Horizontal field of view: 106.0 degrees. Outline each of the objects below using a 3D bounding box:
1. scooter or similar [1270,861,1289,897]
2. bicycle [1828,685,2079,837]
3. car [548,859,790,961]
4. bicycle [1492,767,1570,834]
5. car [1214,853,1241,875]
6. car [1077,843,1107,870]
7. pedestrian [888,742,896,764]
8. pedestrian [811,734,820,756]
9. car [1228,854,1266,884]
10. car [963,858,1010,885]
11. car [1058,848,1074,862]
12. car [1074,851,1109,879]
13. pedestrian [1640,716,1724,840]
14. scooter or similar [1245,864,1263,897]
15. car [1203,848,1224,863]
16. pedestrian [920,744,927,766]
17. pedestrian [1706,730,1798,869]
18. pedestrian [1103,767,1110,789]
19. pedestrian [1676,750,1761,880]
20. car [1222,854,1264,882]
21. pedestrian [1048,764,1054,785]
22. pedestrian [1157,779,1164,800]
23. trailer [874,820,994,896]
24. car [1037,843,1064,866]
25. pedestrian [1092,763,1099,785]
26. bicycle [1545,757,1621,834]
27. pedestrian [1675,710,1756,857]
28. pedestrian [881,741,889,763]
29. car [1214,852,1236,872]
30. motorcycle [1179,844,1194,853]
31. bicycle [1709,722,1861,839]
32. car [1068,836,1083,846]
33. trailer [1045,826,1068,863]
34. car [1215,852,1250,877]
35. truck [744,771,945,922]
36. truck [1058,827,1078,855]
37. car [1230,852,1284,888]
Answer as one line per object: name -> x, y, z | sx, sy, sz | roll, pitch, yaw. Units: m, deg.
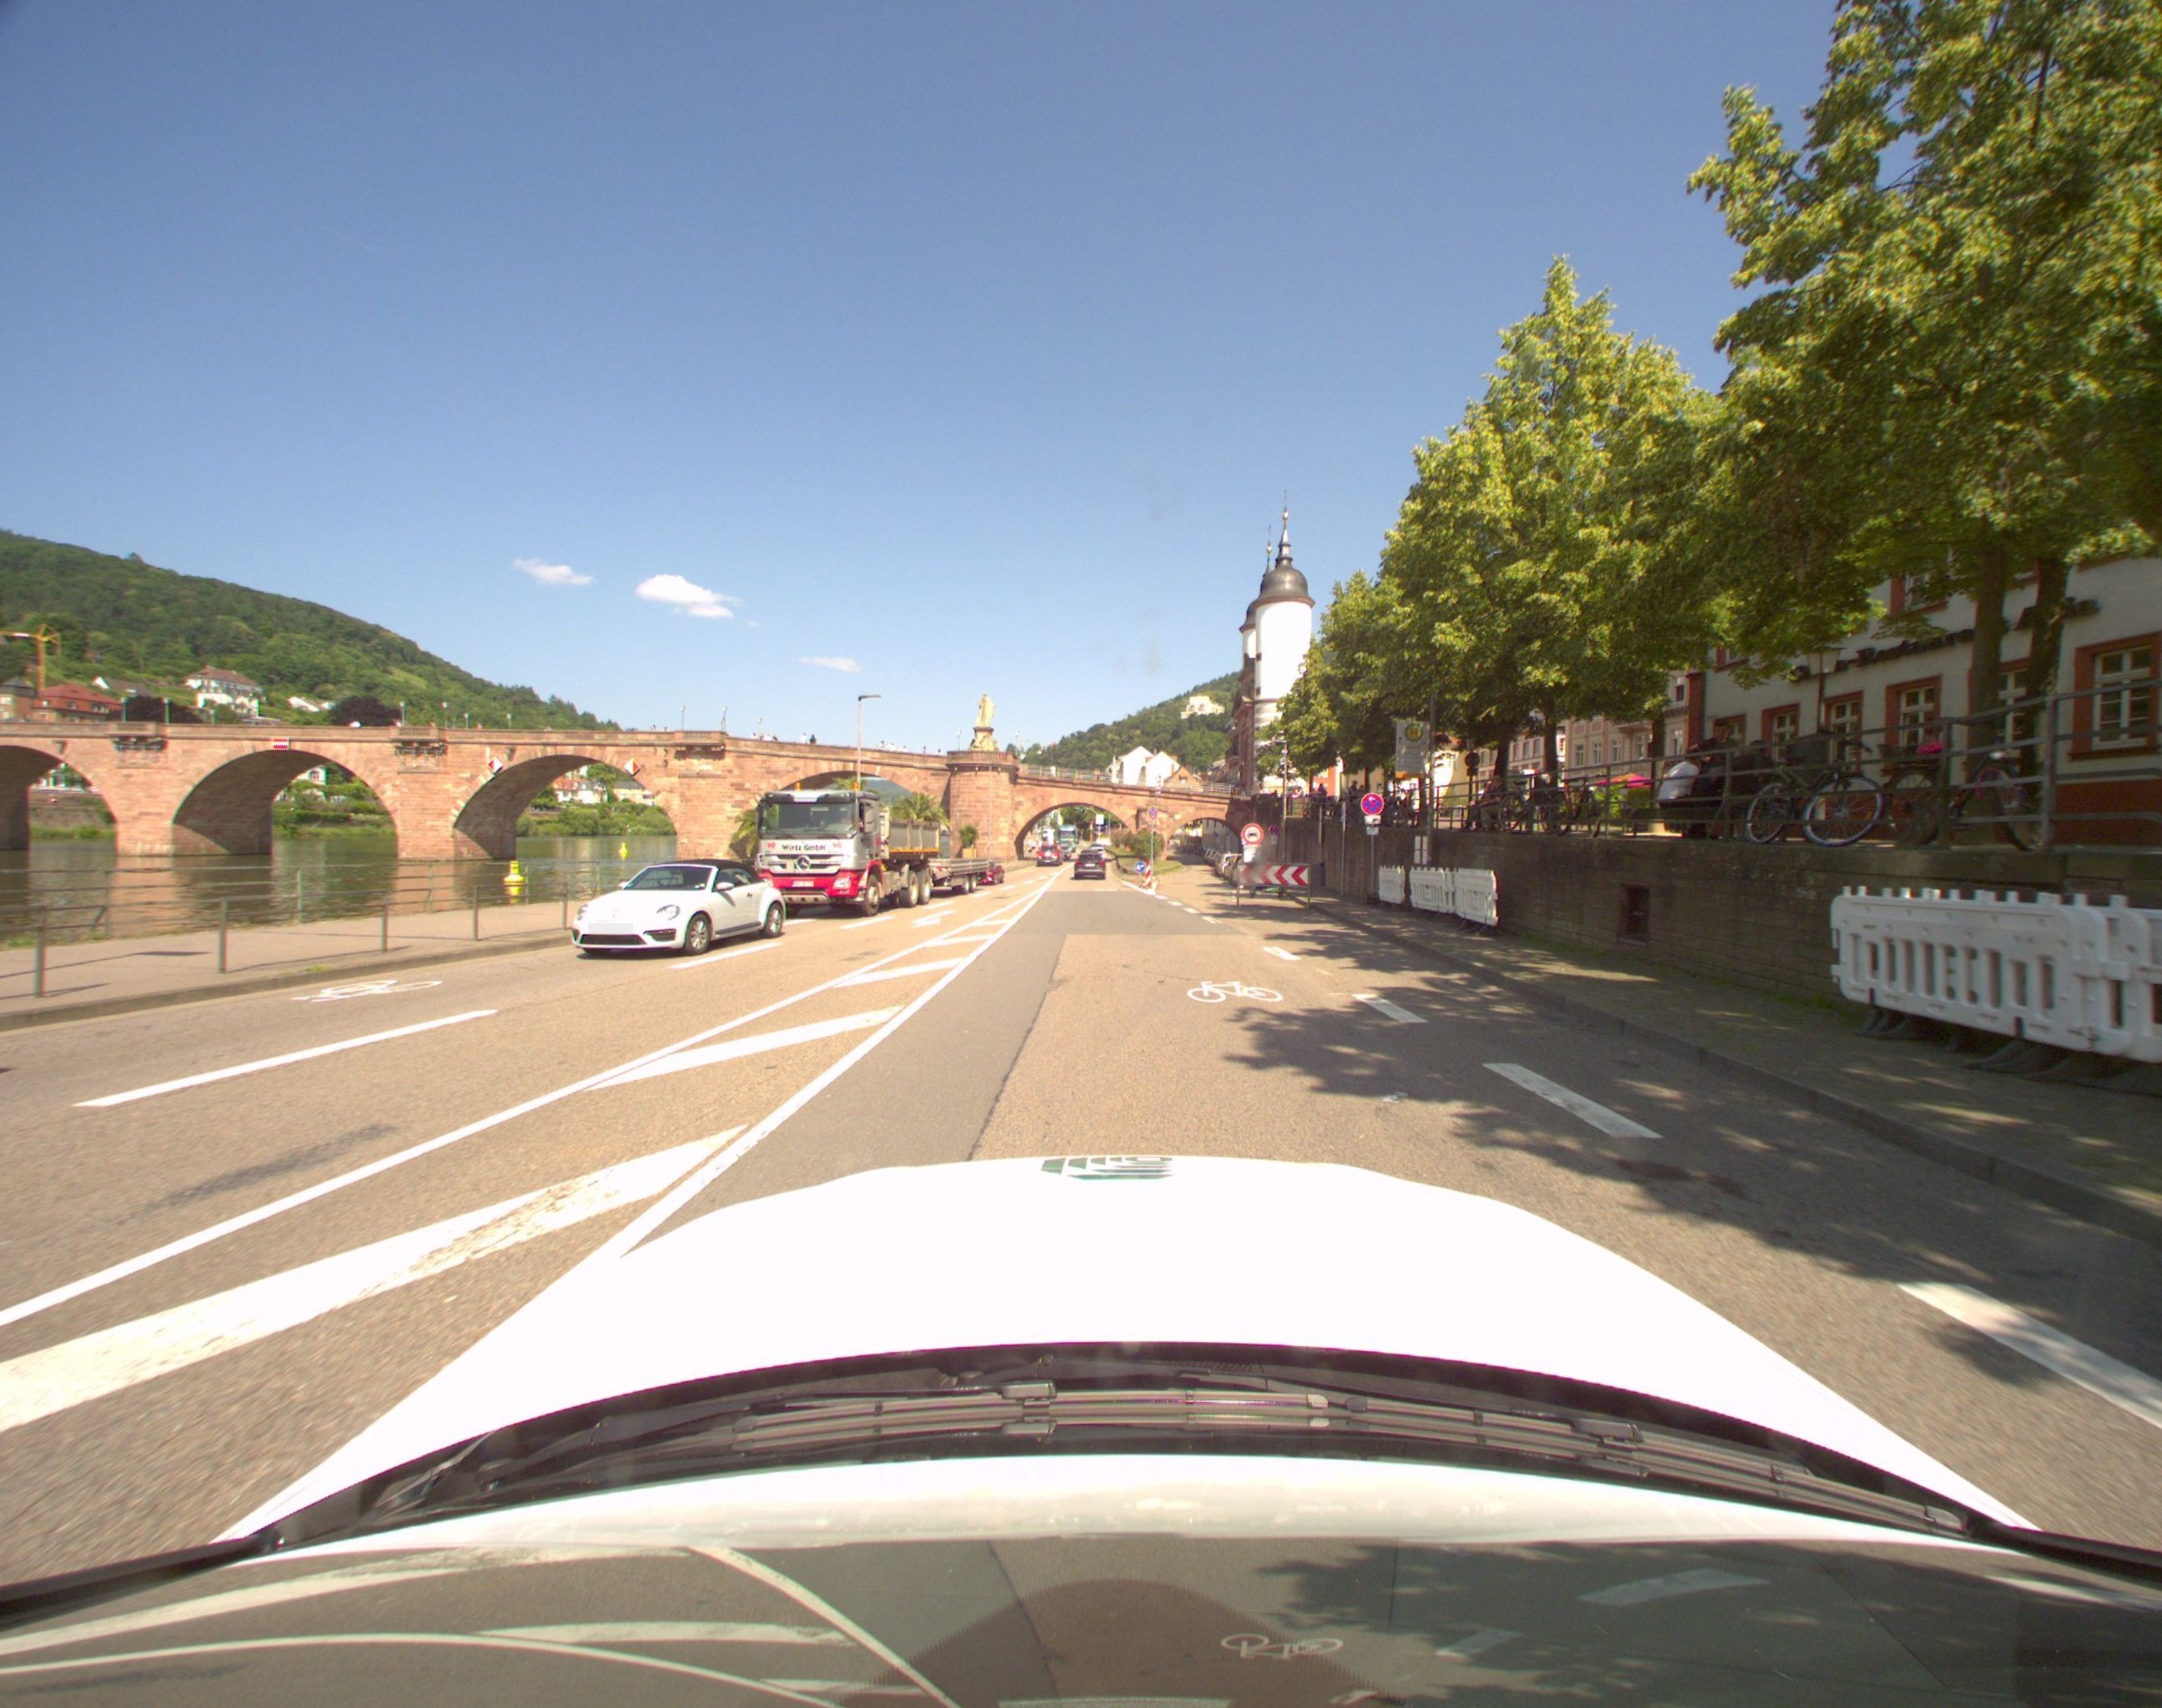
scooter or similar -> 6.969, 0.856, 28.604 | 0.527, 1.230, 1.277 | 0, 0, 19
bicycle -> 7.364, -0.709, 7.016 | 0.407, 1.106, 1.929 | 0, 0, 10
car -> -6.675, 0.814, 13.771 | 1.769, 1.443, 4.003 | 0, 0, 5
bicycle -> 8.140, -0.934, 14.810 | 0.409, 1.106, 1.733 | -1, 0, -2
car -> 9.876, 0.628, 54.909 | 1.700, 1.388, 4.420 | -1, 0, 11
car -> 0.890, 0.147, 63.295 | 1.984, 2.013, 4.005 | 0, 0, 5
pedestrian -> -17.992, -9.662, 77.613 | 0.622, 2.013, 0.694 | 0, 0, -5
pedestrian -> -25.089, -10.308, 76.936 | 0.691, 2.013, 0.625 | 0, 0, -2
car -> 8.308, 0.712, 41.093 | 1.603, 1.413, 3.912 | 1, 0, 8
car -> -4.608, 0.817, 40.157 | 1.664, 1.194, 3.632 | -1, 0, 3
car -> -1.666, 0.084, 90.436 | 1.528, 1.436, 3.731 | -1, 1, 2
car -> 0.651, 0.592, 46.890 | 1.849, 1.523, 4.003 | 0, 0, 2
pedestrian -> 8.581, -1.059, 11.656 | 0.715, 1.720, 0.712 | 0, 0, 5
scooter or similar -> 5.986, 0.889, 28.170 | 0.528, 1.089, 1.444 | 0, 0, 15
car -> 13.883, 0.176, 85.626 | 1.884, 1.492, 4.423 | 0, 1, 5
pedestrian -> -14.929, -9.355, 77.262 | 0.622, 2.013, 0.694 | 0, 0, -5
pedestrian -> 8.564, -0.679, 10.409 | 0.715, 1.720, 0.574 | 0, 0, 5
pedestrian -> 2.426, -7.098, 76.522 | 0.621, 2.013, 0.696 | 0, 0, 3
pedestrian -> 8.621, -0.517, 11.033 | 0.715, 1.720, 0.574 | 0, 0, 5
car -> 9.033, 0.735, 45.783 | 1.745, 1.432, 4.762 | 1, 0, 5
pedestrian -> -2.912, -7.797, 79.536 | 0.579, 2.013, 0.586 | 0, 0, 2
pedestrian -> 7.956, -6.469, 81.370 | 0.681, 2.013, 0.586 | 0, 0, 2
trailer -> -5.366, 0.150, 31.045 | 2.684, 2.531, 6.957 | -1, 0, 5
car -> -2.584, -0.008, 70.111 | 1.866, 1.827, 4.548 | -1, 1, 3
pedestrian -> 1.452, -7.807, 79.581 | 0.681, 2.013, 0.586 | 0, 0, 2
bicycle -> 7.878, -0.883, 12.846 | 0.407, 1.106, 1.740 | 0, 0, 10
pedestrian -> 9.678, -1.048, 12.443 | 0.715, 2.189, 0.712 | 0, 0, 5
pedestrian -> -18.599, -9.659, 77.460 | 0.622, 2.013, 0.694 | 0, 0, -5
car -> 11.405, 0.616, 64.359 | 1.580, 1.520, 3.916 | 1, 1, 12
motorcycle -> 14.829, -0.800, 114.415 | 2.208, 1.267, 0.621 | -1, 2, -36
bicycle -> 7.449, -0.724, 8.709 | 0.407, 1.106, 1.740 | 0, 0, 10
car -> -0.998, -2.245, 144.363 | 1.856, 1.662, 3.986 | -1, 1, -10
trailer -> -2.279, -0.859, 75.577 | 1.734, 3.320, 3.387 | -1, 1, 4
car -> 9.424, 0.622, 50.905 | 1.703, 1.457, 3.551 | 1, 0, 3
truck -> -6.167, -0.179, 22.861 | 2.629, 3.457, 7.883 | -1, 0, 5
truck -> -1.743, -1.870, 113.026 | 2.515, 3.748, 6.248 | -1, 2, 1
car -> 7.728, 0.645, 36.122 | 1.834, 1.450, 4.542 | 1, 0, 6
